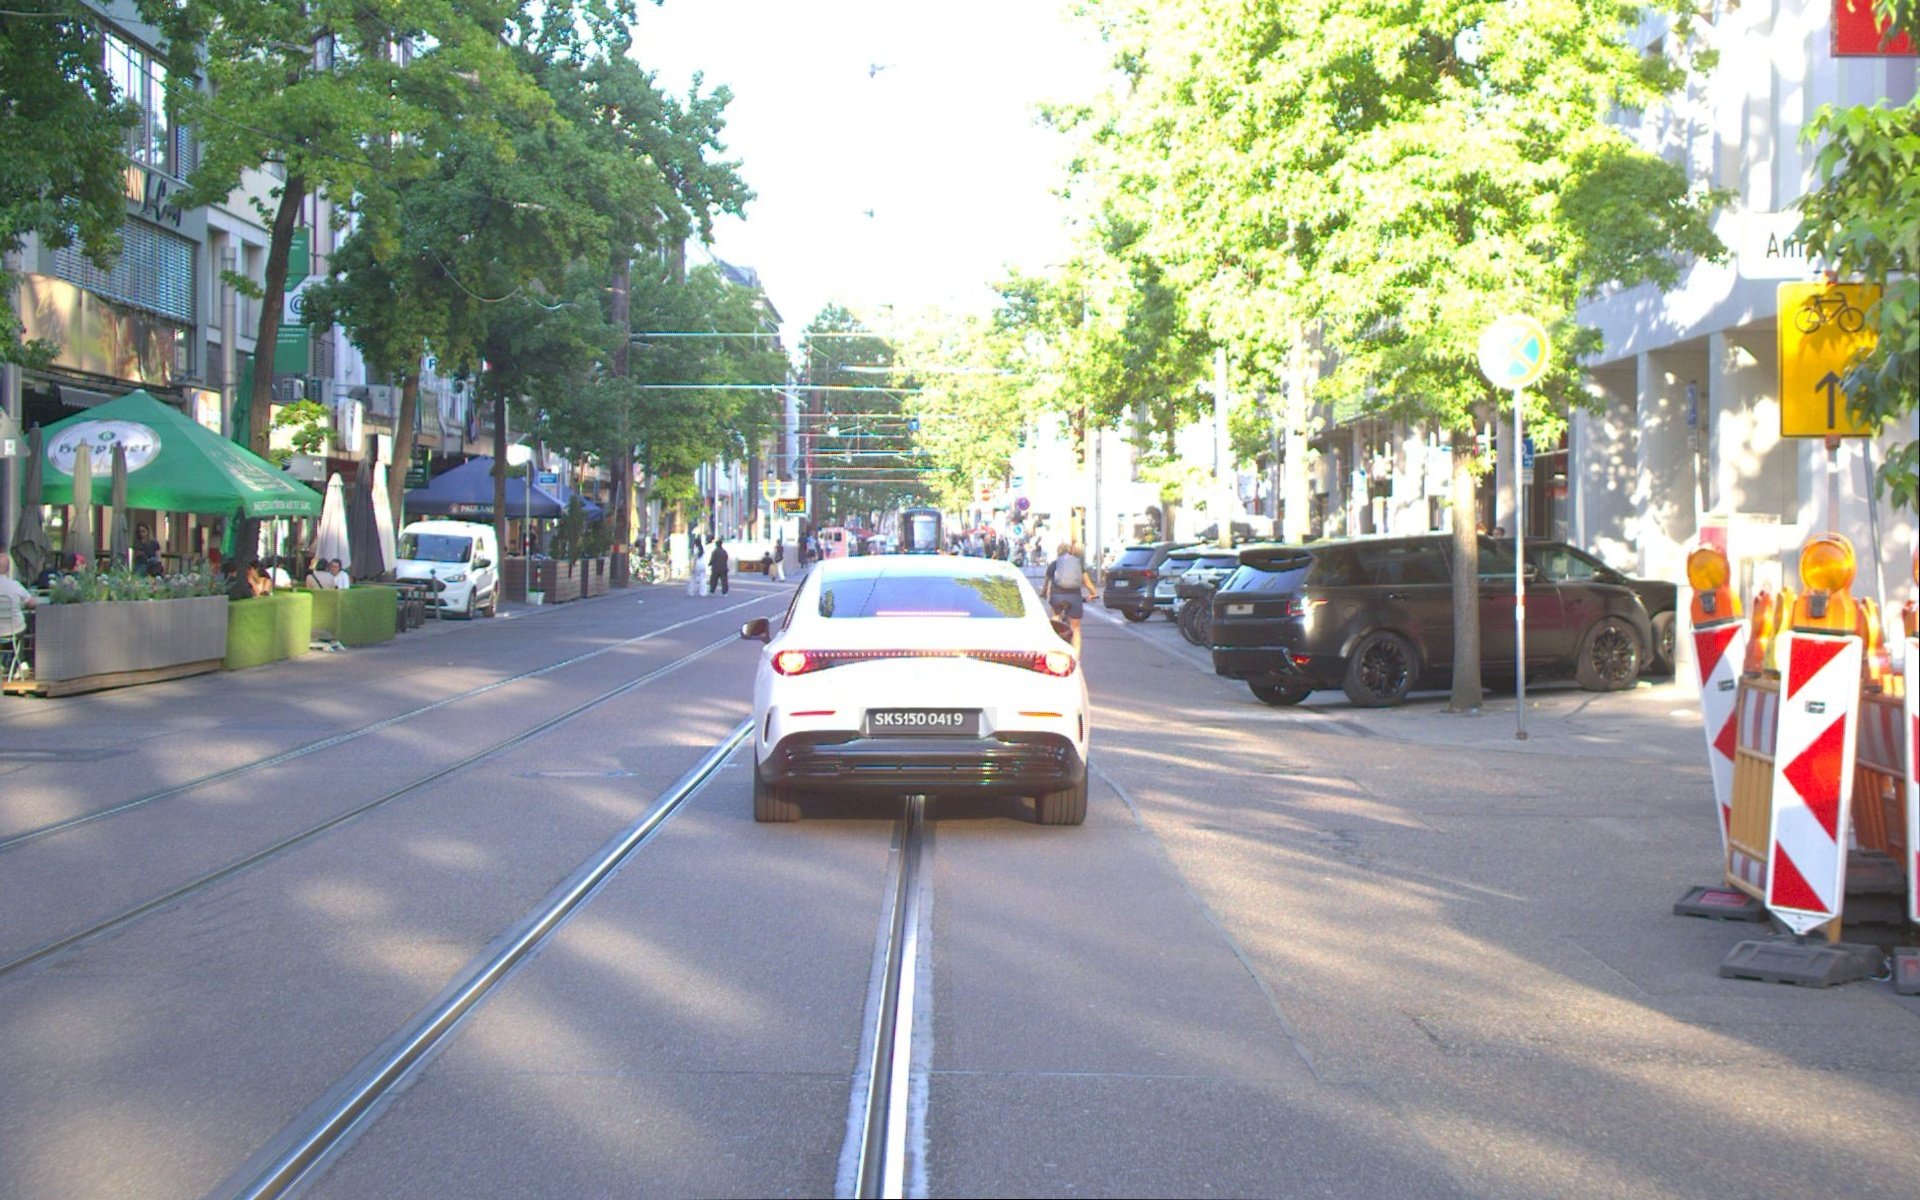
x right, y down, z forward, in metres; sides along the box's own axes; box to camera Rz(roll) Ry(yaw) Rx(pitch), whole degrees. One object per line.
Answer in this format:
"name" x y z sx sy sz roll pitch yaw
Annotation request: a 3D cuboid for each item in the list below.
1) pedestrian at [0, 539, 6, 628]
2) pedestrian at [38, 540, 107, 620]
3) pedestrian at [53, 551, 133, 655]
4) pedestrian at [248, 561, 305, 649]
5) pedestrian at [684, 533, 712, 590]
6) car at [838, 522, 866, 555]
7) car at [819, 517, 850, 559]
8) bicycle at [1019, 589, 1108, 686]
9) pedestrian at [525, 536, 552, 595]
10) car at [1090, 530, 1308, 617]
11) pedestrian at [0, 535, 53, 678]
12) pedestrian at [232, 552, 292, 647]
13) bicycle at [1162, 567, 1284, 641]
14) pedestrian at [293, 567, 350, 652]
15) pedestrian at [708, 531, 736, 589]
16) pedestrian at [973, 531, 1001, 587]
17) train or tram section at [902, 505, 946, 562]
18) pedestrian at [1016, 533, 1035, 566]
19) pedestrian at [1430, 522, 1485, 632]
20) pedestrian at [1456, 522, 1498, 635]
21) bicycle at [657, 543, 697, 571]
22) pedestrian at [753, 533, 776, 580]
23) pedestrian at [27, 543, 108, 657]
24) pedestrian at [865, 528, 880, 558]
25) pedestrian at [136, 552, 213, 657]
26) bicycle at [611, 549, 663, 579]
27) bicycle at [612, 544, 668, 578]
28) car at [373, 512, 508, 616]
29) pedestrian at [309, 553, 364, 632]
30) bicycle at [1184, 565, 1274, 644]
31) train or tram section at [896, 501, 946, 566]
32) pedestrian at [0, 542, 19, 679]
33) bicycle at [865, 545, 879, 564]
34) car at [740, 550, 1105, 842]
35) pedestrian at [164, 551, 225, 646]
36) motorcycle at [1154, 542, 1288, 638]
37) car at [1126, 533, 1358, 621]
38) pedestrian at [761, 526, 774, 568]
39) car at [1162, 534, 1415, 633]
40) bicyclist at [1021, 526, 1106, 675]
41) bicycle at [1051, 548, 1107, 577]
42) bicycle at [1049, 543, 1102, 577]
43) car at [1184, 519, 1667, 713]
"pedestrian" -13.705 -0.245 47.434 0.777 1.233 0.945 3 1 -1
"pedestrian" -13.775 -0.313 53.383 0.753 1.184 1.065 3 1 -1
"pedestrian" -10.798 0.032 42.823 0.708 1.255 0.869 2 1 2
"pedestrian" -10.475 0.075 52.708 0.657 1.289 0.798 3 1 -1
"pedestrian" -7.050 -1.039 92.420 0.622 1.504 0.833 3 1 0
"car" -8.173 -4.683 260.922 1.910 2.452 5.275 0 1 0
"car" -8.829 -4.387 242.346 1.993 2.887 5.275 0 1 0
"bicycle" 1.174 0.405 38.564 0.719 0.992 2.058 3 1 9
"pedestrian" -9.797 -0.801 79.941 0.549 1.352 0.583 1 1 -1
"car" 5.025 -0.563 72.145 4.342 1.646 1.694 -3 1 -31
"pedestrian" -9.499 0.054 34.201 0.689 1.382 0.807 2 1 1
"pedestrian" -9.497 -0.008 46.808 0.619 1.240 0.697 3 1 -1
"bicycle" 4.282 0.065 55.989 1.890 1.116 0.667 -2 0 -29
"pedestrian" -9.819 0.142 52.871 0.657 1.240 0.873 3 1 -1
"pedestrian" -6.467 -1.086 93.434 0.622 1.545 0.852 3 1 0
"pedestrian" 0.897 -1.360 113.011 0.841 1.795 0.790 2 1 1
"train or tram section" -2.254 -4.169 216.051 2.694 3.504 11.144 0 1 0
"pedestrian" 3.604 -2.774 188.237 0.960 1.779 0.804 -1 1 -1
"pedestrian" 7.755 -0.364 53.589 0.678 1.690 0.550 0 1 -13
"pedestrian" 8.100 -0.334 53.878 0.523 1.744 0.559 -2 1 2
"bicycle" -10.949 -1.672 132.909 1.492 1.025 0.345 2 1 -10
"pedestrian" -7.393 -1.652 130.137 0.788 1.795 0.844 1 1 1
"pedestrian" -10.530 -0.002 40.581 0.689 1.307 0.807 2 1 1
"pedestrian" -5.333 -3.458 209.364 0.800 1.776 0.849 2 1 -1
"pedestrian" -9.760 0.052 42.729 0.708 1.255 0.772 2 1 2
"bicycle" -10.374 -1.148 110.302 1.596 0.927 0.377 2 1 7
"bicycle" -10.574 -1.284 113.564 1.788 1.073 0.377 2 1 -4
"car" -10.036 -0.719 66.725 1.795 1.858 4.553 3 1 1
"pedestrian" -9.752 -0.126 53.764 0.657 1.189 0.798 3 1 -1
"bicycle" 4.240 0.067 54.040 0.481 1.159 1.691 -2 1 40
"train or tram section" -2.148 -3.721 191.659 2.694 3.504 12.546 0 1 0
"pedestrian" -10.059 0.098 34.980 0.689 1.382 0.807 2 1 1
"bicycle" -5.355 -2.781 209.419 0.800 1.138 2.257 2 1 -2
"car" -0.211 0.466 19.855 1.857 1.450 4.175 1 1 0
"pedestrian" -10.388 -0.026 46.684 0.619 1.240 0.697 3 1 -1
"motorcycle" 4.373 -0.175 57.553 2.313 1.504 0.858 -3 1 -44
"car" 5.606 -0.460 68.177 4.235 1.582 1.884 -3 1 -31
"pedestrian" -8.736 -2.411 156.238 0.539 1.922 0.573 0 1 3
"car" 5.821 -0.306 60.758 4.147 1.566 1.854 -3 2 -33
"bicyclist" 1.156 -0.006 38.326 0.778 1.607 0.912 3 1 9
"bicycle" 4.645 -1.470 134.095 2.113 1.092 0.610 1 0 -11
"bicycle" 4.420 -1.530 131.110 1.908 1.277 0.610 -2 1 -11
"car" 4.850 0.136 35.672 4.651 1.757 1.995 -3 1 -29
